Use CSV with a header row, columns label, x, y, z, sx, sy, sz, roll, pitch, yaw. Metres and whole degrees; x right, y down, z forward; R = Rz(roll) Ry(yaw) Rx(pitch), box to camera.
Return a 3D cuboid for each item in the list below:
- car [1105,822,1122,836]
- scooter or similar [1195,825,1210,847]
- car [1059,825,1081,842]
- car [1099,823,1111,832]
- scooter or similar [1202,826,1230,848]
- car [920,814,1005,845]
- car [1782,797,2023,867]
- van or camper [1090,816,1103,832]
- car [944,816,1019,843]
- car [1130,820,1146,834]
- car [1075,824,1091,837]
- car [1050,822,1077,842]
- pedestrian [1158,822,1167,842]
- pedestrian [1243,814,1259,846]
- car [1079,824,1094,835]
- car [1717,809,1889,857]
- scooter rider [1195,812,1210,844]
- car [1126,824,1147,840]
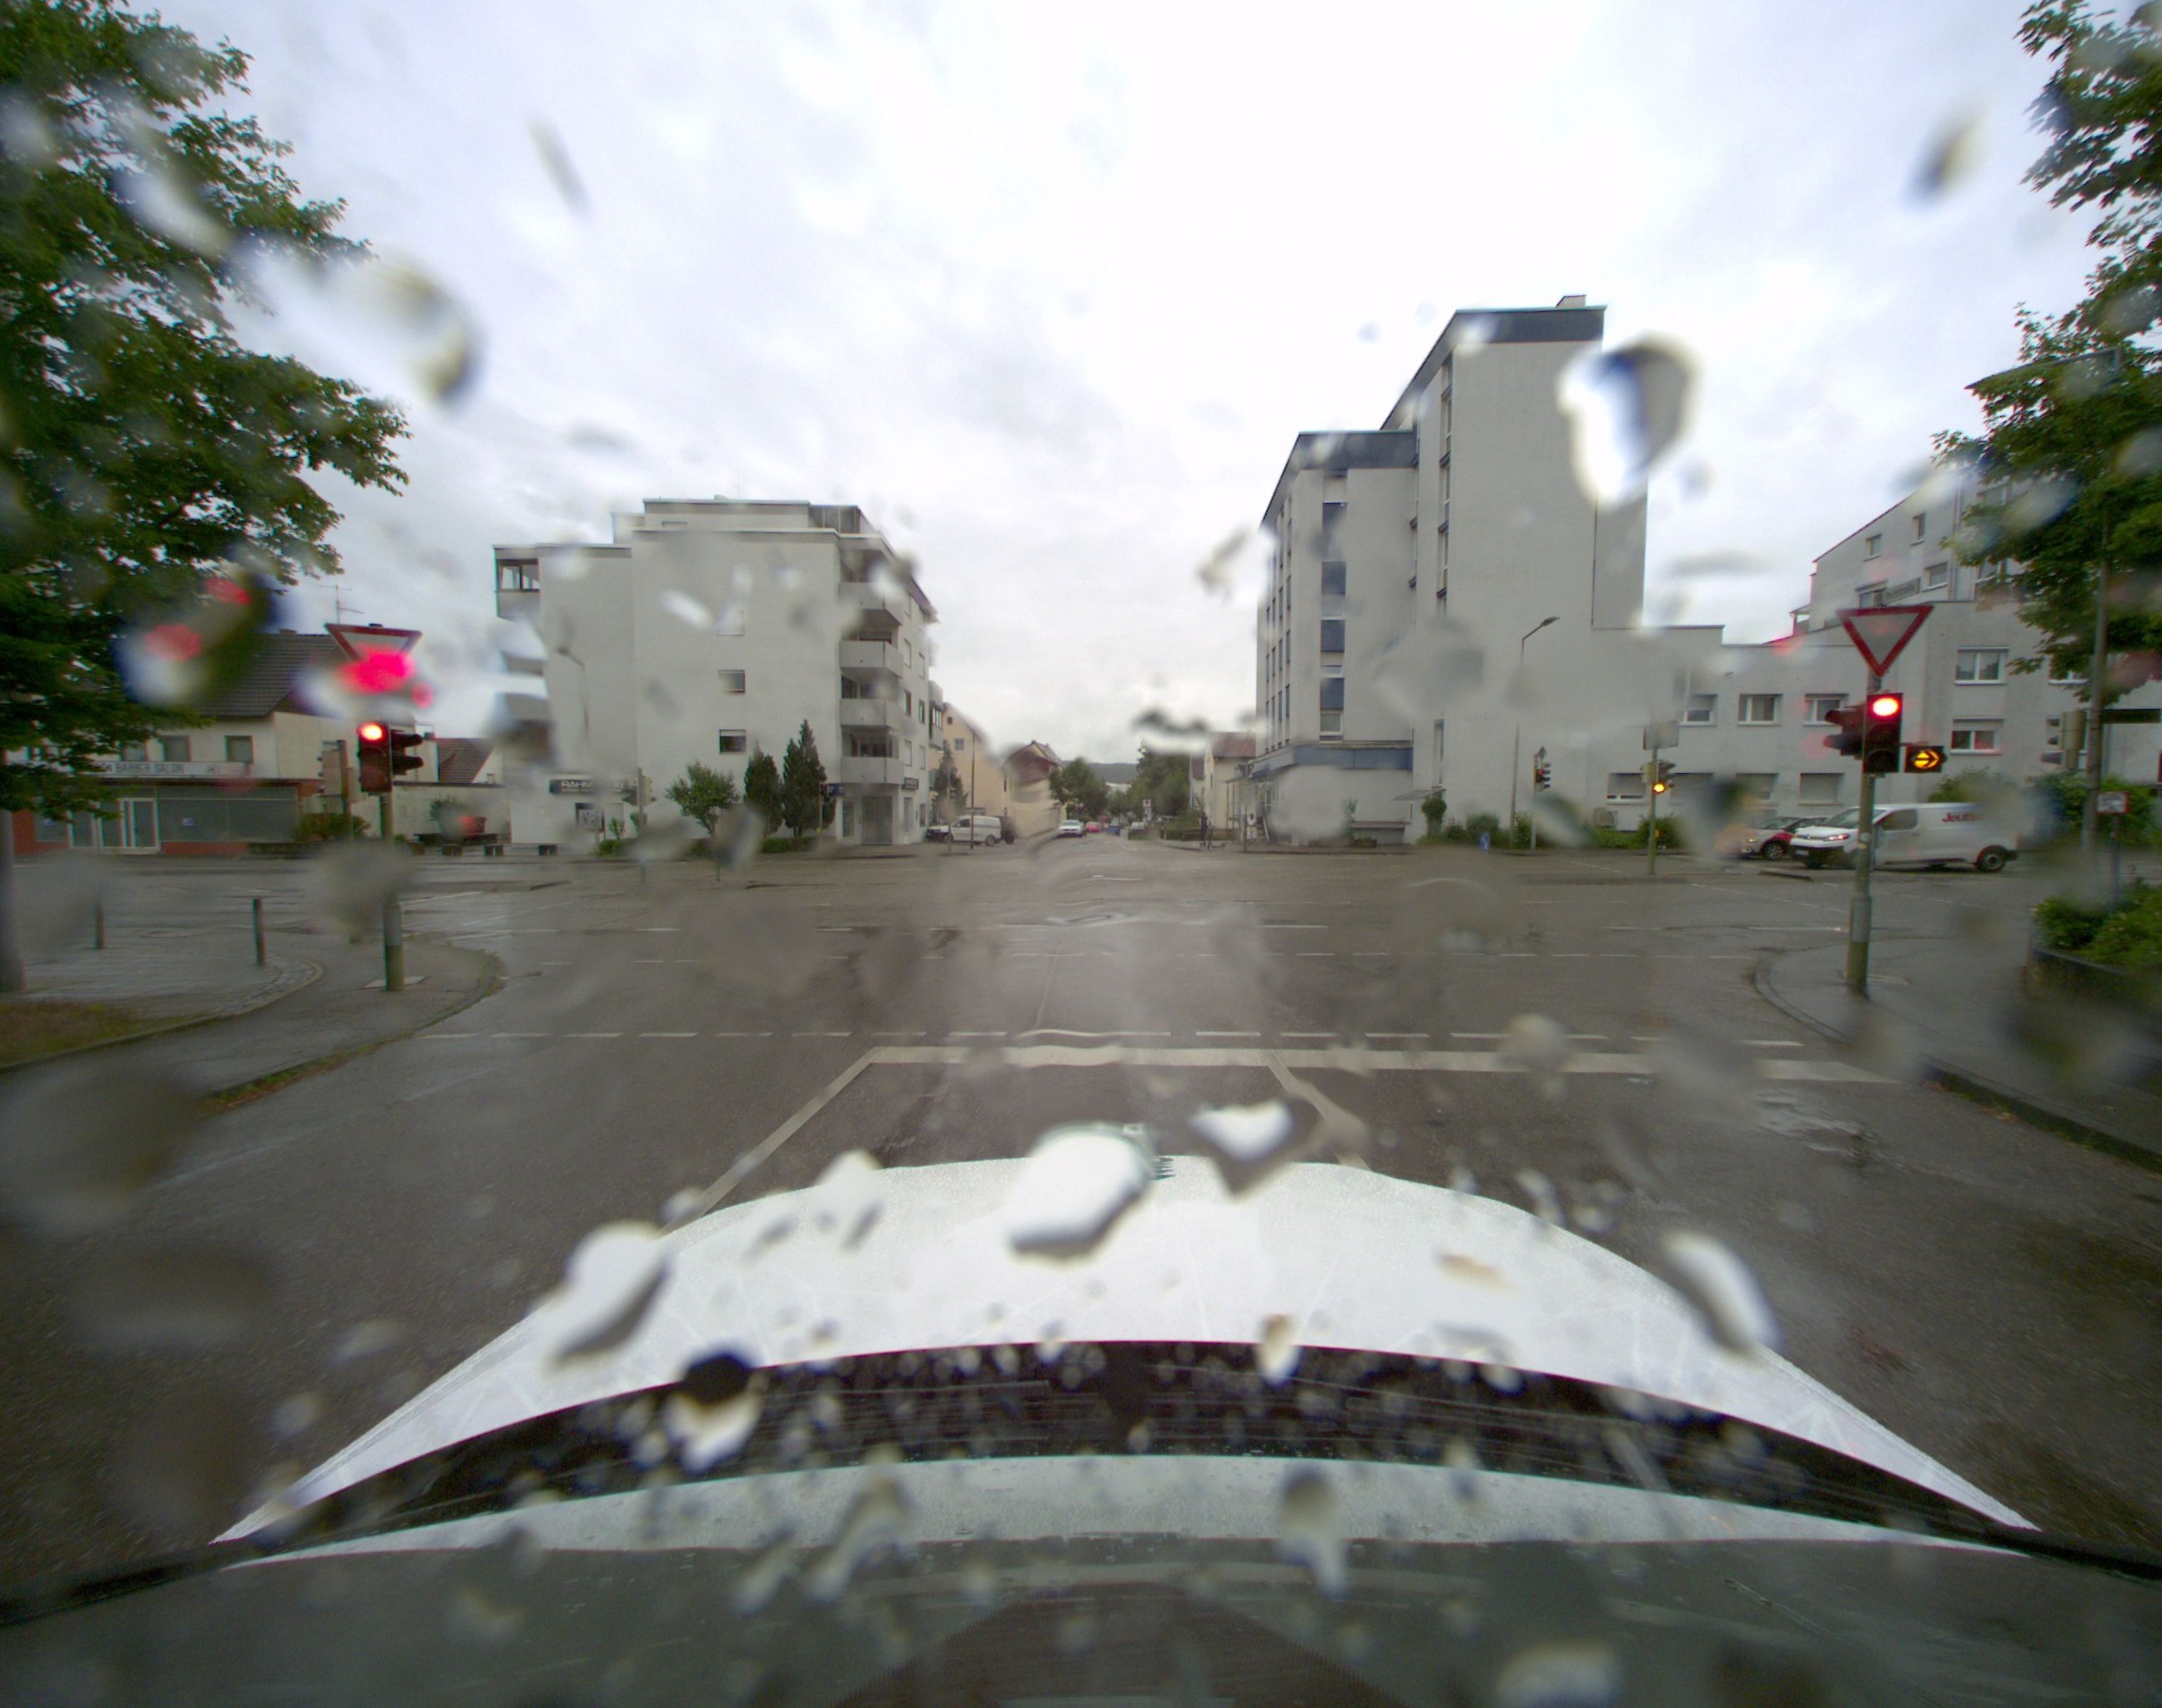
label,x,y,z,sx,sy,sz,roll,pitch,yaw
car,4.237,-3.284,106.897,1.987,1.683,4.001,-1,2,0
scooter or similar,6.888,-1.018,46.134,0.753,1.171,1.316,-1,1,4
car,-1.089,-2.086,82.150,1.985,1.625,4.195,-1,2,3
car,4.144,-4.603,141.338,1.894,1.558,4.195,-1,2,3
scooter or similar,6.828,-0.857,41.161,1.265,1.081,0.876,-1,1,-3
car,-7.315,-1.526,50.533,4.866,1.835,1.978,-2,2,-36
car,23.550,-0.611,23.535,4.786,1.916,1.831,0,0,8
van or camper,2.480,-4.780,129.175,1.894,2.513,4.243,-1,2,3
car,-7.011,-1.750,57.500,4.866,1.835,1.978,-2,2,-36
car,7.438,-3.475,106.270,1.894,1.745,4.195,-1,2,3
car,0.276,-3.086,107.184,1.894,1.558,4.195,-1,2,3
car,-1.472,-1.913,70.746,1.985,1.625,4.195,-1,2,3
pedestrian,7.806,-2.137,78.372,0.743,1.848,0.526,3,1,0
pedestrian,8.804,-1.242,42.166,0.646,1.647,0.525,2,1,-4
car,0.823,-3.462,115.583,1.894,1.558,4.195,-1,2,3
car,23.891,-0.705,27.083,3.966,1.467,1.835,-1,2,6
scooter rider,6.893,-1.457,46.181,0.749,1.795,0.673,-1,1,3
car,5.721,-2.284,84.246,2.137,1.589,4.132,-1,2,3
